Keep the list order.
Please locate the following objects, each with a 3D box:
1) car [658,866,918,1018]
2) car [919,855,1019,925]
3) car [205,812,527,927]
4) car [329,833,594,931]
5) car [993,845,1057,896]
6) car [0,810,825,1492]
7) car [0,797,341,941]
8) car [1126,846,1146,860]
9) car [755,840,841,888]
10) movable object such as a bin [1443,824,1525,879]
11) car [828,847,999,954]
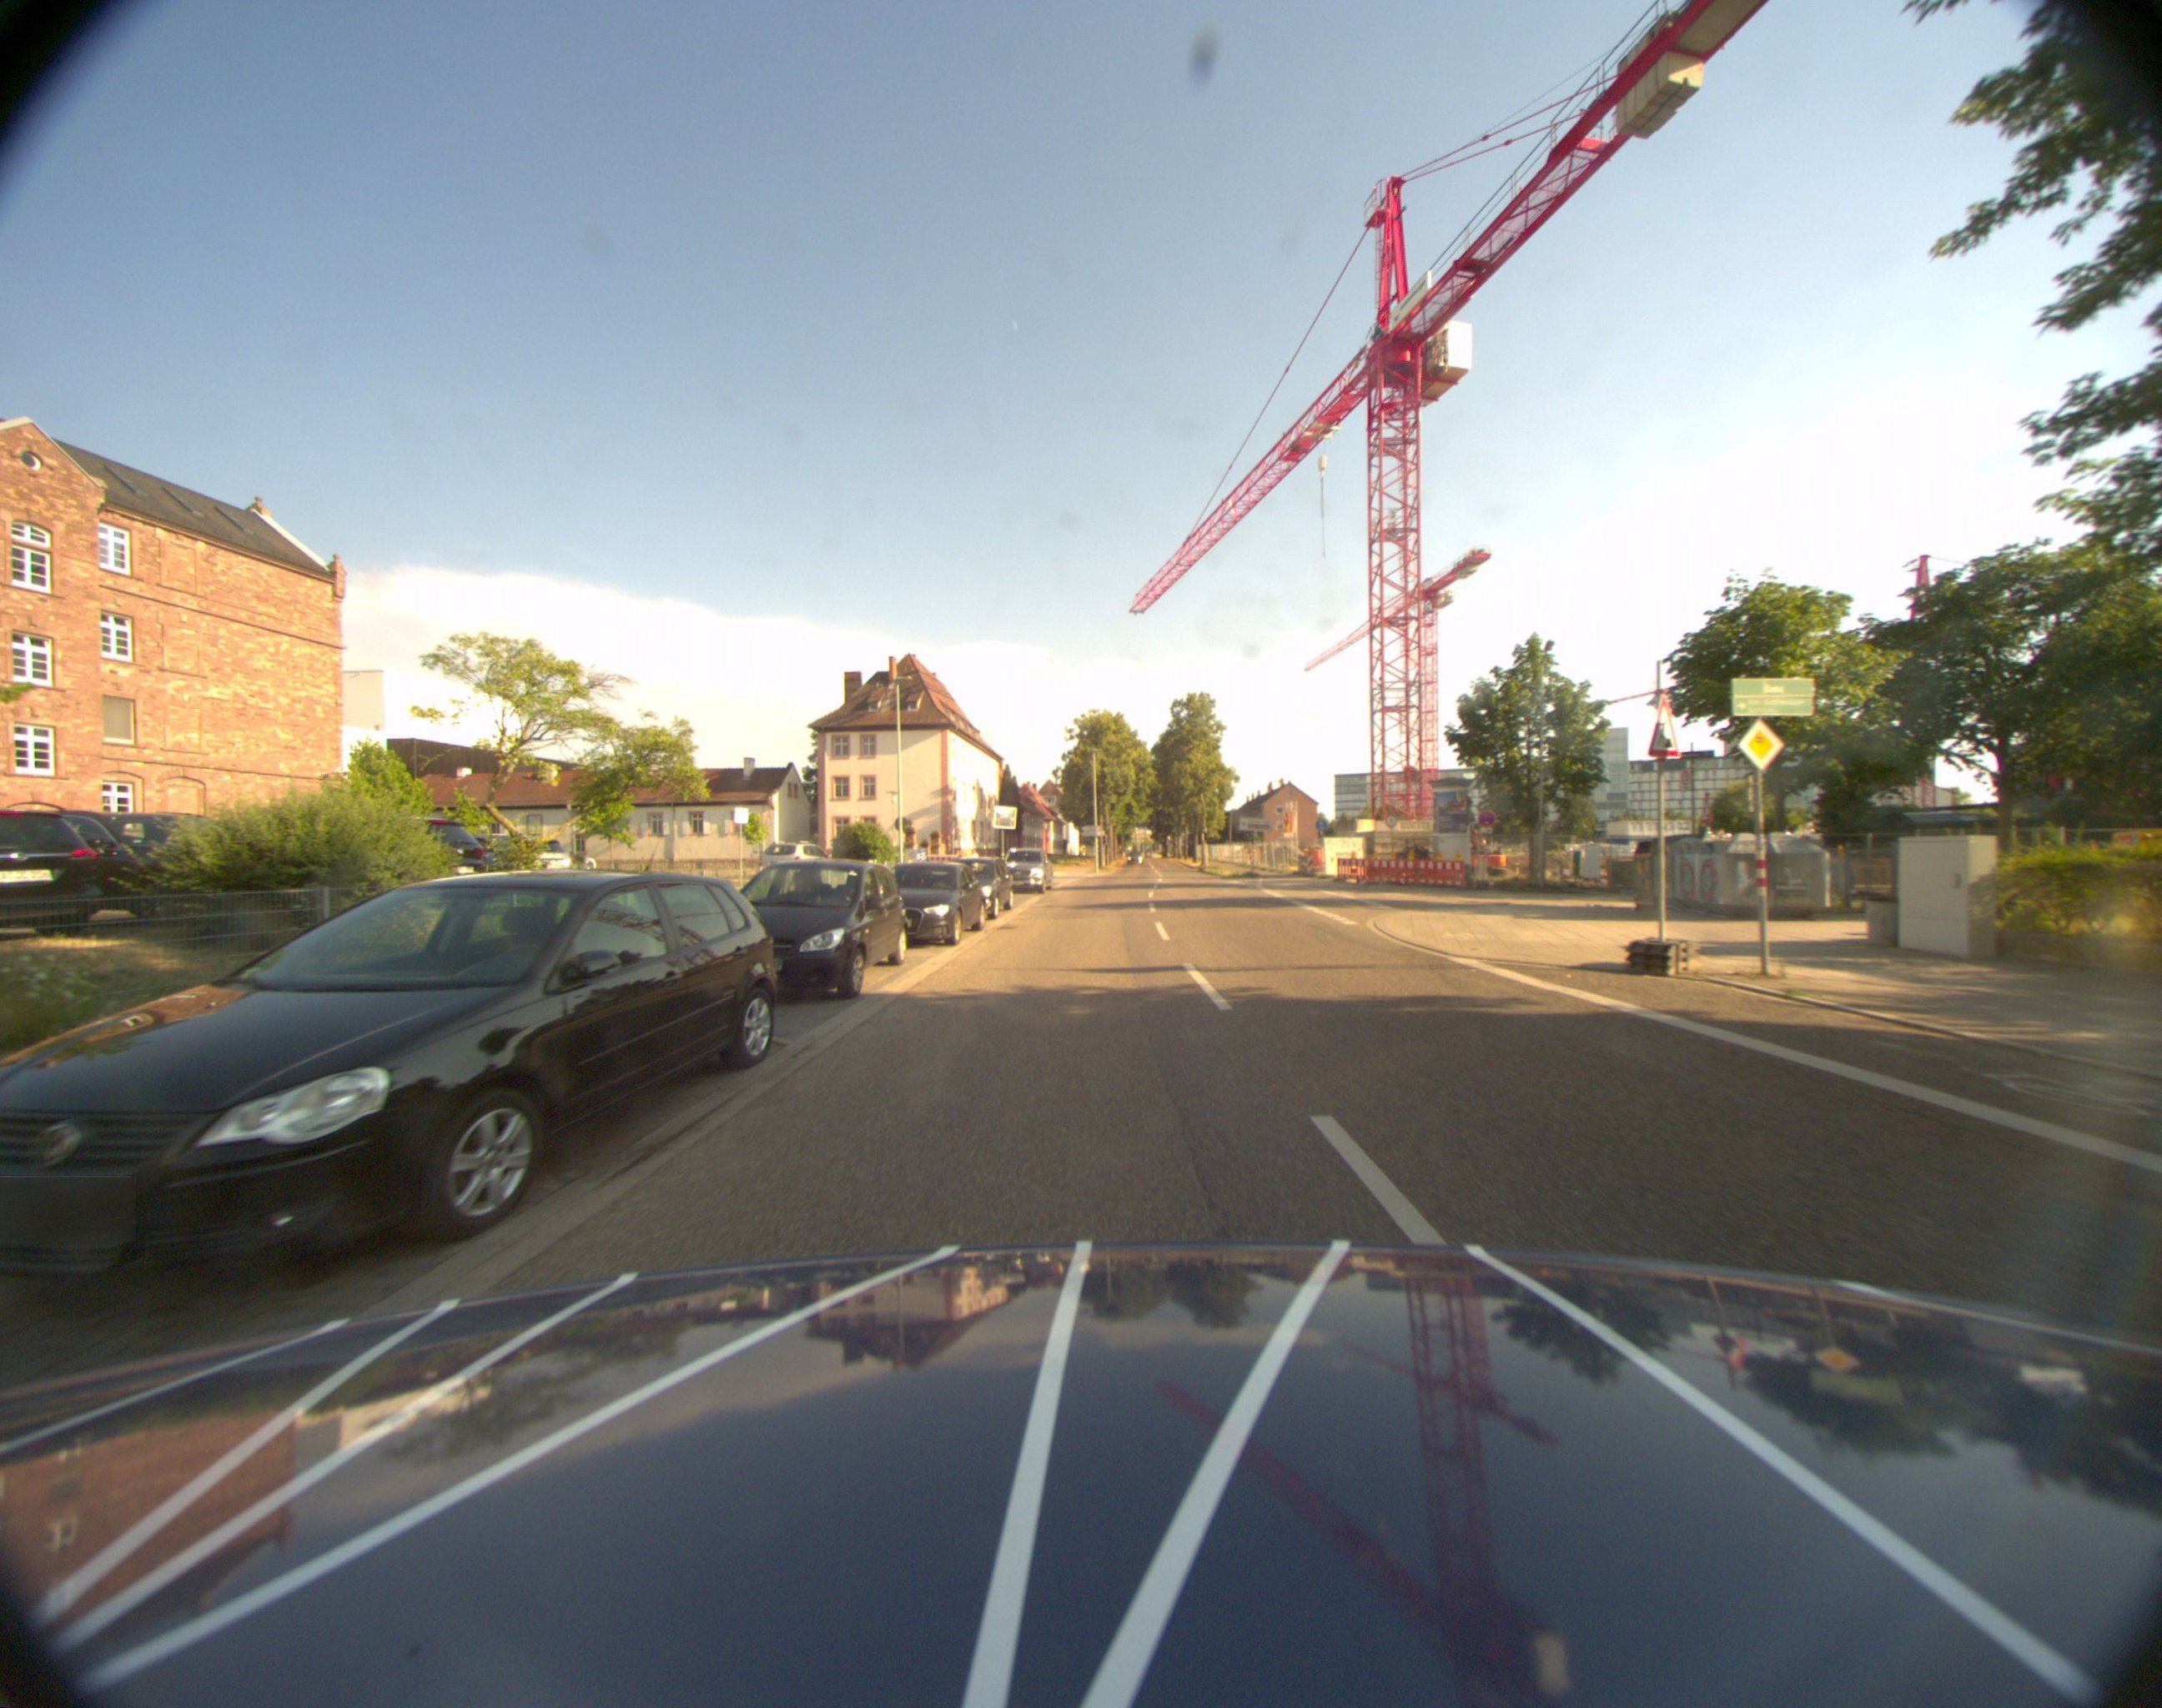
[{"bbox_3d":[-3.224,0.883,9.240,1.655,1.427,3.960,-1,-1,-1],"label":"car"},{"bbox_3d":[-2.803,0.849,20.062,1.746,1.532,4.439,0,2,3],"label":"car"},{"bbox_3d":[-13.102,0.249,14.137,3.997,1.784,2.000,-3,2,1],"label":"car"},{"bbox_3d":[-13.222,0.553,16.430,3.997,1.784,2.000,-3,2,1],"label":"car"},{"bbox_3d":[-2.155,0.596,30.713,1.925,1.769,4.810,2,2,3],"label":"car"},{"bbox_3d":[-3.292,0.699,4.288,1.906,1.769,4.581,2,2,3],"label":"car"},{"bbox_3d":[-13.866,0.220,11.154,3.996,1.784,2.000,-3,2,3],"label":"car"},{"bbox_3d":[6.130,-0.097,85.120,1.776,1.492,3.672,-2,0,-3],"label":"car"},{"bbox_3d":[-11.134,0.347,30.203,1.657,1.652,4.000,-3,1,3],"label":"car"},{"bbox_3d":[41.279,-0.408,78.385,4.093,5.035,12.230,-3,1,12],"label":"movable object such as a bin"},{"bbox_3d":[-2.951,0.724,14.539,1.906,1.521,4.810,3,2,3],"label":"car"}]
